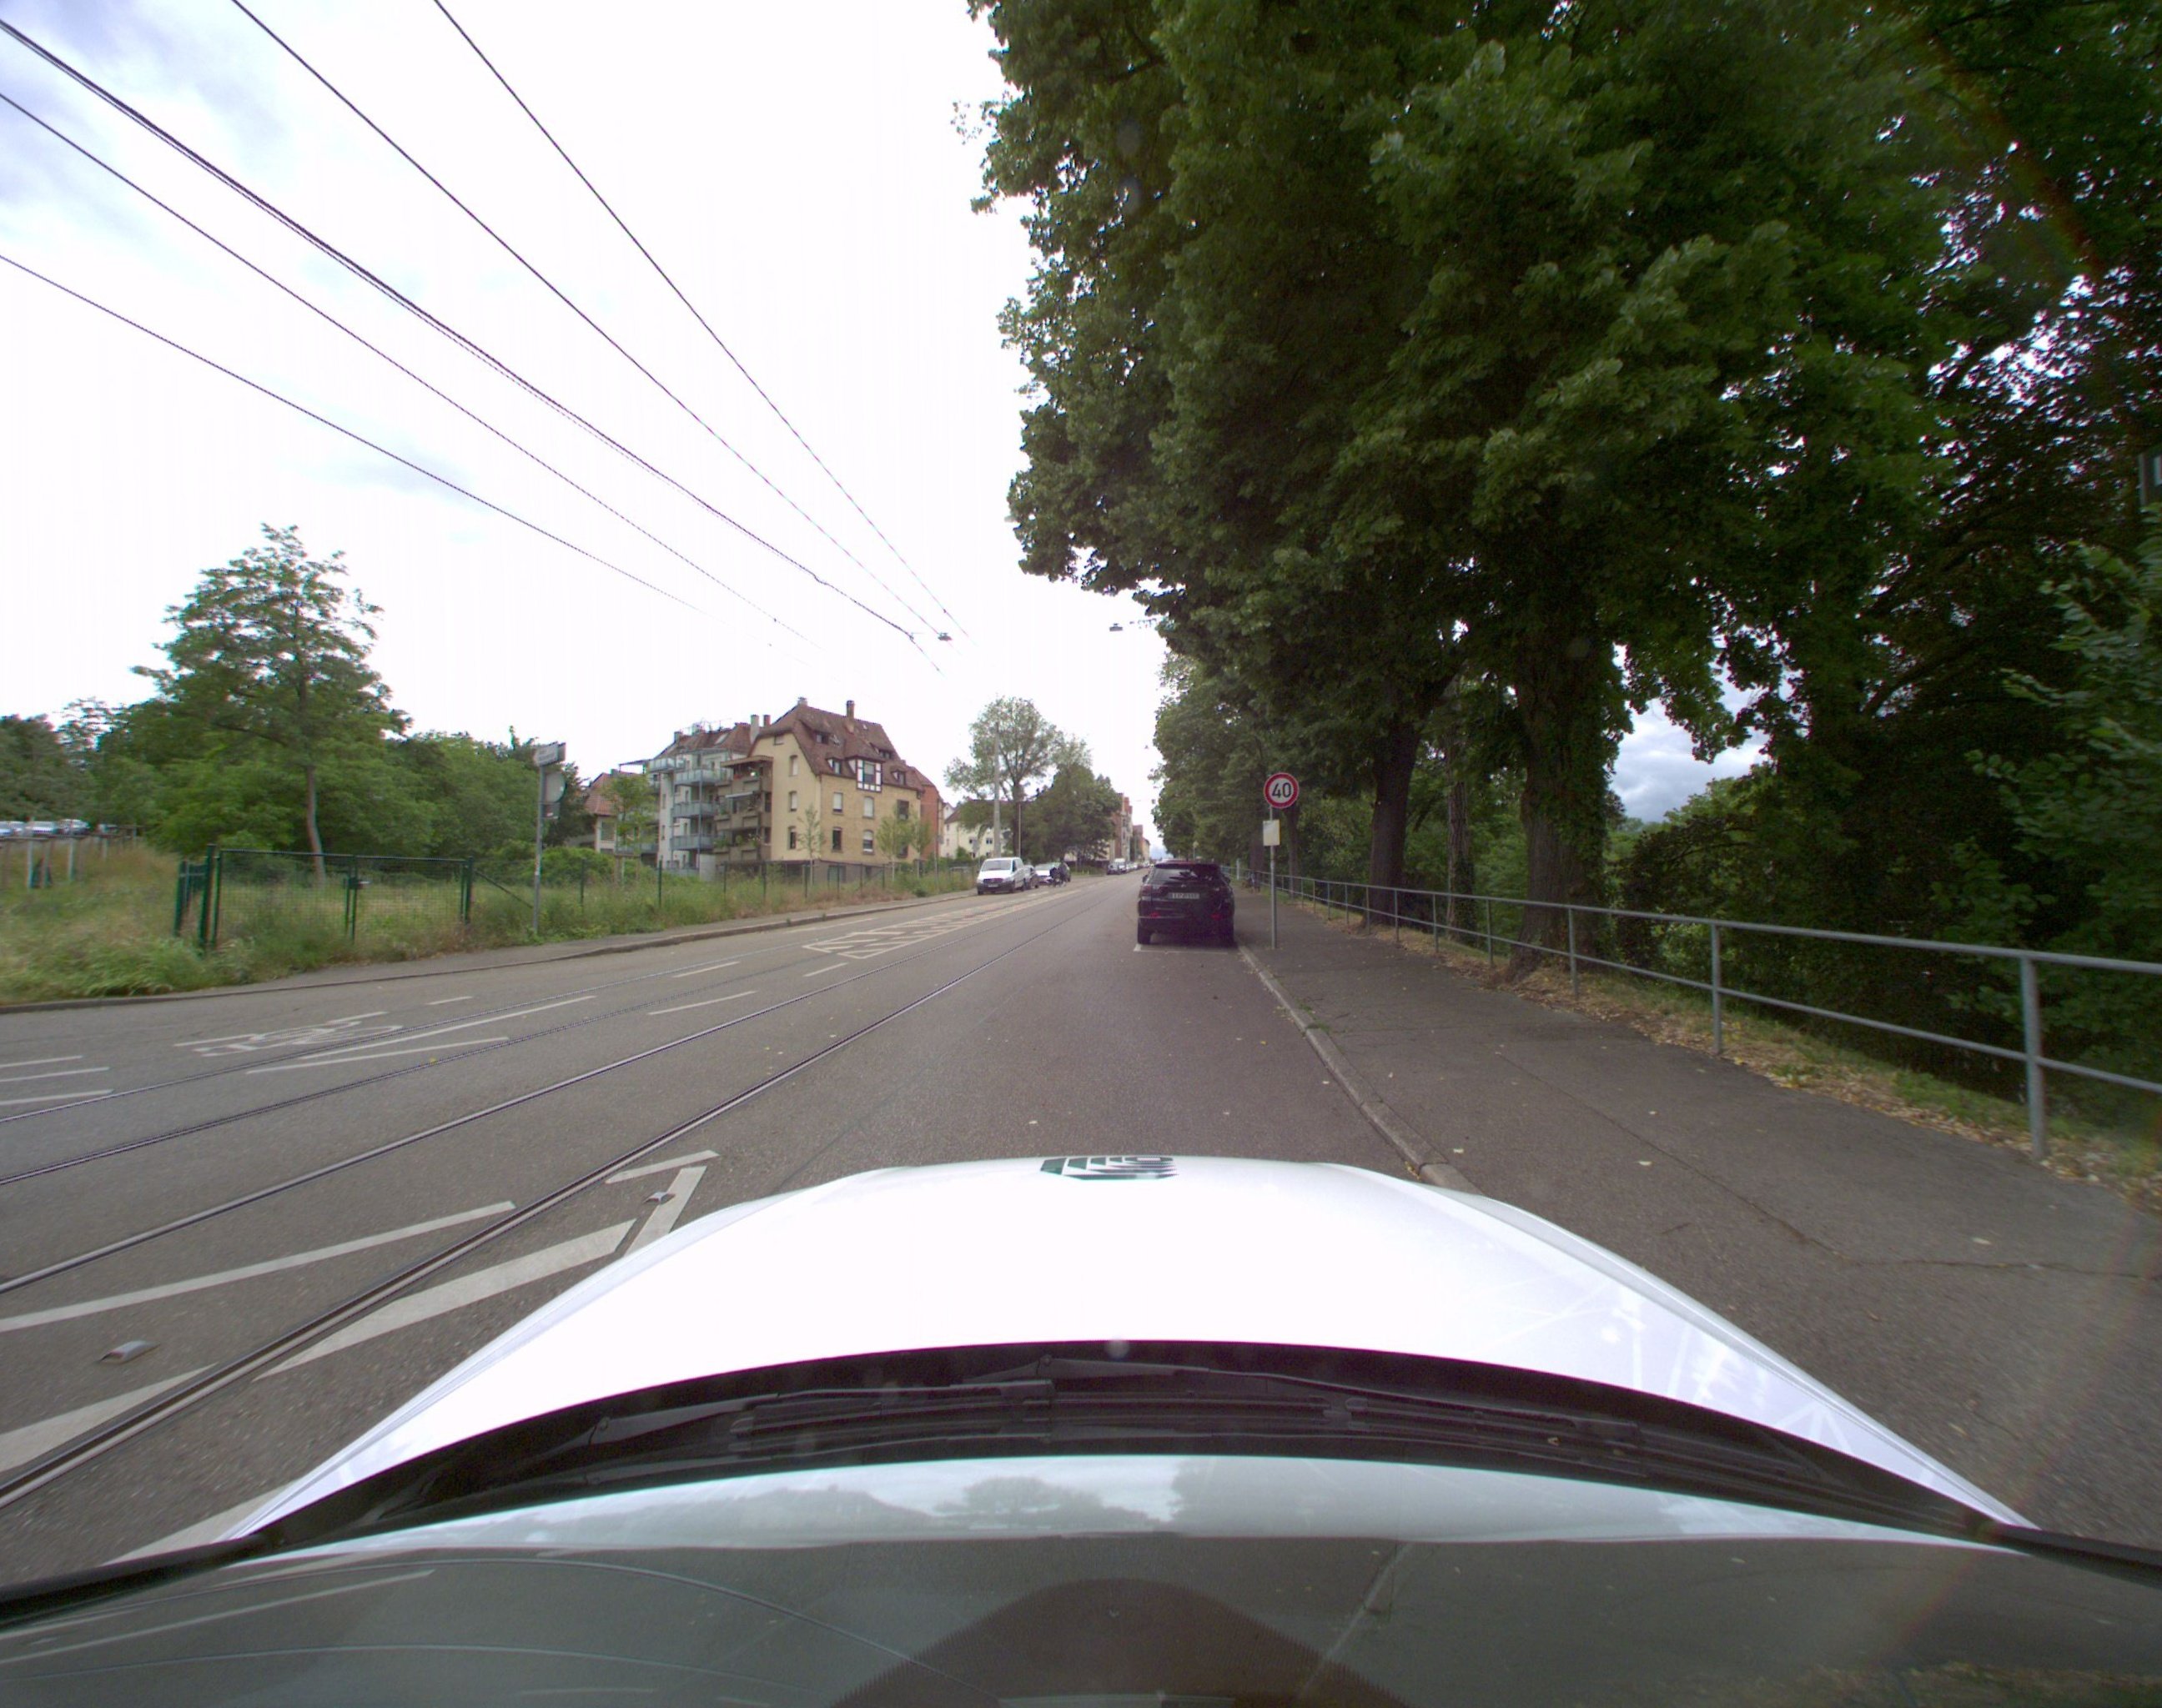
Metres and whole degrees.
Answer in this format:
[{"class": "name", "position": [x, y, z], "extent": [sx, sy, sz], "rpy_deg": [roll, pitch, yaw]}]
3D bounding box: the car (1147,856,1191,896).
[{"class": "car", "position": [4.143, 0.968, 38.138], "extent": [1.867, 1.677, 5.072], "rpy_deg": [2, 0, 7]}]

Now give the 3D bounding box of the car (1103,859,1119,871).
[{"class": "car", "position": [4.553, 1.615, 122.953], "extent": [1.982, 1.808, 4.008], "rpy_deg": [0, -1, 8]}]

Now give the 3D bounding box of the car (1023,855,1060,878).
[{"class": "car", "position": [-2.733, 0.868, 57.154], "extent": [1.875, 1.526, 4.671], "rpy_deg": [-1, -1, 6]}]

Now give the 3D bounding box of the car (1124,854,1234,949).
[{"class": "car", "position": [2.035, 0.837, 16.646], "extent": [1.894, 1.615, 4.610], "rpy_deg": [1, 0, 8]}]

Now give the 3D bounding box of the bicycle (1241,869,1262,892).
[{"class": "bicycle", "position": [7.397, 1.130, 35.384], "extent": [0.426, 0.976, 1.792], "rpy_deg": [1, -1, -3]}]

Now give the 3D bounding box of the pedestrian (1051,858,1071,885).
[{"class": "pedestrian", "position": [-1.233, 1.046, 49.988], "extent": [0.812, 1.629, 0.905], "rpy_deg": [2, -2, -42]}]

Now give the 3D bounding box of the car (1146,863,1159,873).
[{"class": "car", "position": [11.211, 2.177, 126.979], "extent": [1.983, 1.498, 4.319], "rpy_deg": [0, -1, 6]}]

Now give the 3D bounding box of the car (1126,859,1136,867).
[{"class": "car", "position": [11.060, 1.972, 181.183], "extent": [1.914, 1.601, 4.007], "rpy_deg": [0, -1, 7]}]

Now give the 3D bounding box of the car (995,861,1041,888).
[{"class": "car", "position": [-3.672, 1.191, 48.464], "extent": [1.886, 1.432, 4.519], "rpy_deg": [-1, 0, 6]}]

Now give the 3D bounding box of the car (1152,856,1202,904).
[{"class": "car", "position": [3.716, 0.957, 32.113], "extent": [1.718, 1.631, 4.093], "rpy_deg": [4, 0, 5]}]

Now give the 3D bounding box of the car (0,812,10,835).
[{"class": "car", "position": [-81.341, -2.273, 60.357], "extent": [4.080, 1.658, 1.848], "rpy_deg": [0, -1, 45]}]

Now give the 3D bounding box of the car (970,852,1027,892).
[{"class": "car", "position": [-4.275, 0.941, 43.152], "extent": [2.026, 1.881, 4.891], "rpy_deg": [-3, -1, 5]}]

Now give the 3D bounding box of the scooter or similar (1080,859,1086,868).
[{"class": "scooter or similar", "position": [0.321, 1.390, 118.575], "extent": [0.687, 1.339, 1.642], "rpy_deg": [0, -1, 7]}]

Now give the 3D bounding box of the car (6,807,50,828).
[{"class": "car", "position": [-93.949, -3.229, 72.710], "extent": [4.080, 1.658, 1.848], "rpy_deg": [0, -1, 45]}]

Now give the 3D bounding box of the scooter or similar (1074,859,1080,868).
[{"class": "scooter or similar", "position": [-0.543, 1.422, 118.702], "extent": [0.687, 1.339, 1.642], "rpy_deg": [0, -1, 7]}]

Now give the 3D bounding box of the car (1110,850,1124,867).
[{"class": "car", "position": [6.118, 0.760, 137.569], "extent": [2.220, 2.764, 5.806], "rpy_deg": [0, -1, 4]}]

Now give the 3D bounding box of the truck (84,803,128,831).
[{"class": "truck", "position": [-141.310, -5.305, 118.172], "extent": [8.096, 3.601, 3.582], "rpy_deg": [0, -1, 43]}]

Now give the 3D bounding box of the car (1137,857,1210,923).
[{"class": "car", "position": [2.457, 0.877, 21.722], "extent": [1.725, 1.575, 4.372], "rpy_deg": [0, 0, 6]}]

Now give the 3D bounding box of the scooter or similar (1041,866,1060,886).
[{"class": "scooter or similar", "position": [-1.898, 1.345, 50.519], "extent": [0.812, 1.196, 0.829], "rpy_deg": [2, -2, -42]}]
